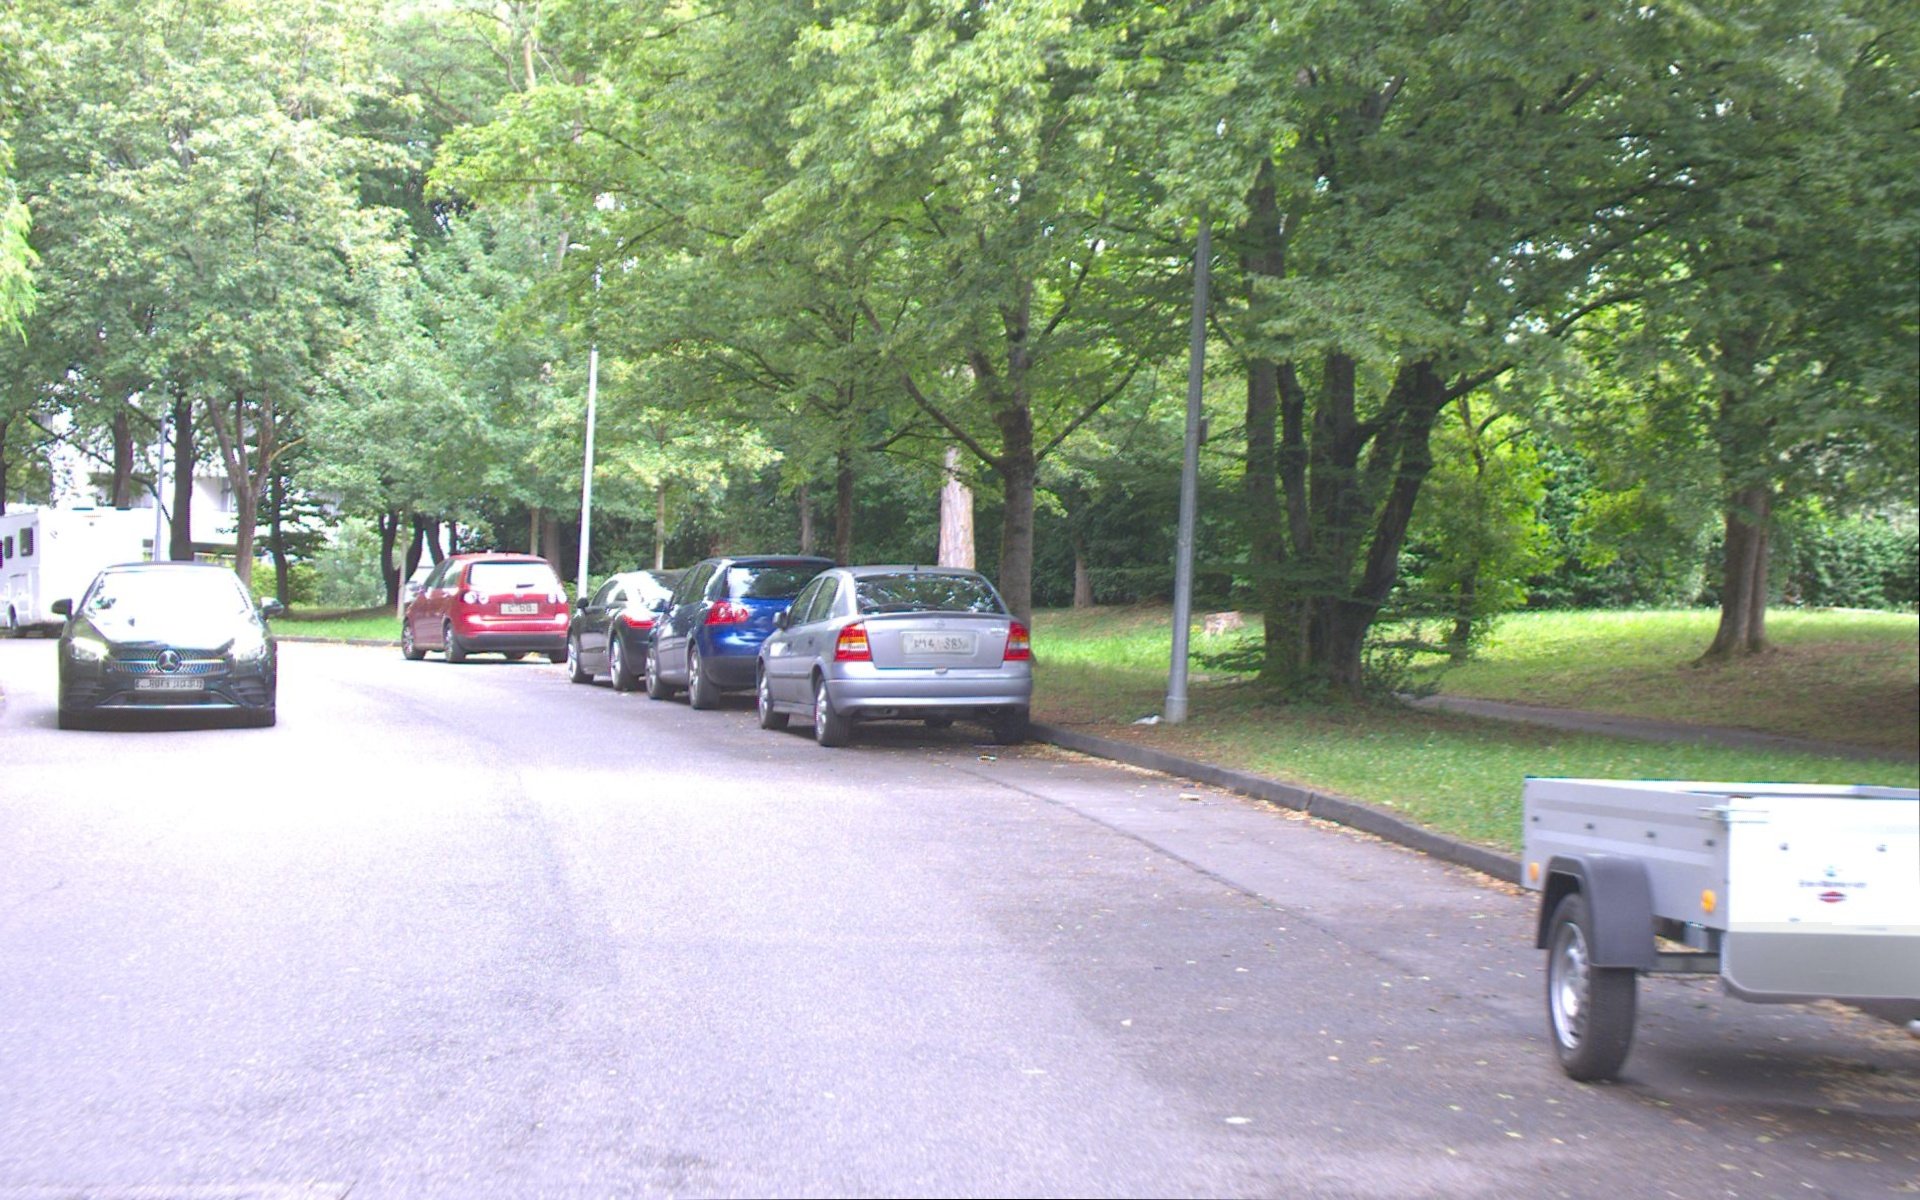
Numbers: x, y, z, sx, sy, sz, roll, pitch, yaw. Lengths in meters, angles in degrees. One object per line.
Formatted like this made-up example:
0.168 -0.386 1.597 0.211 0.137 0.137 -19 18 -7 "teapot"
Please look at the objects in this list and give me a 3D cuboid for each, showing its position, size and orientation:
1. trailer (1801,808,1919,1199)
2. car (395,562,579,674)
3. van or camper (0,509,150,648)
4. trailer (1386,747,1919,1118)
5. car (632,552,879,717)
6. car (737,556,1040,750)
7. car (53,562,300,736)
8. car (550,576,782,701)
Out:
2.602 1.029 5.951 1.357 0.965 3.893 2 1 1 "trailer"
-6.921 0.255 49.992 1.738 1.557 4.001 0 0 -22 "car"
-20.175 -0.507 77.056 2.429 2.997 5.209 0 1 -32 "van or camper"
2.355 0.963 10.745 1.363 0.845 3.279 2 -1 -5 "trailer"
-2.148 0.338 35.016 1.713 1.504 4.182 3 -1 -14 "car"
-0.667 0.378 28.415 1.717 1.426 3.950 0 2 -13 "car"
-6.986 0.429 31.032 1.790 1.384 4.492 3 -1 -9 "car"
-3.448 0.418 39.610 1.749 1.332 4.417 1 0 -17 "car"
